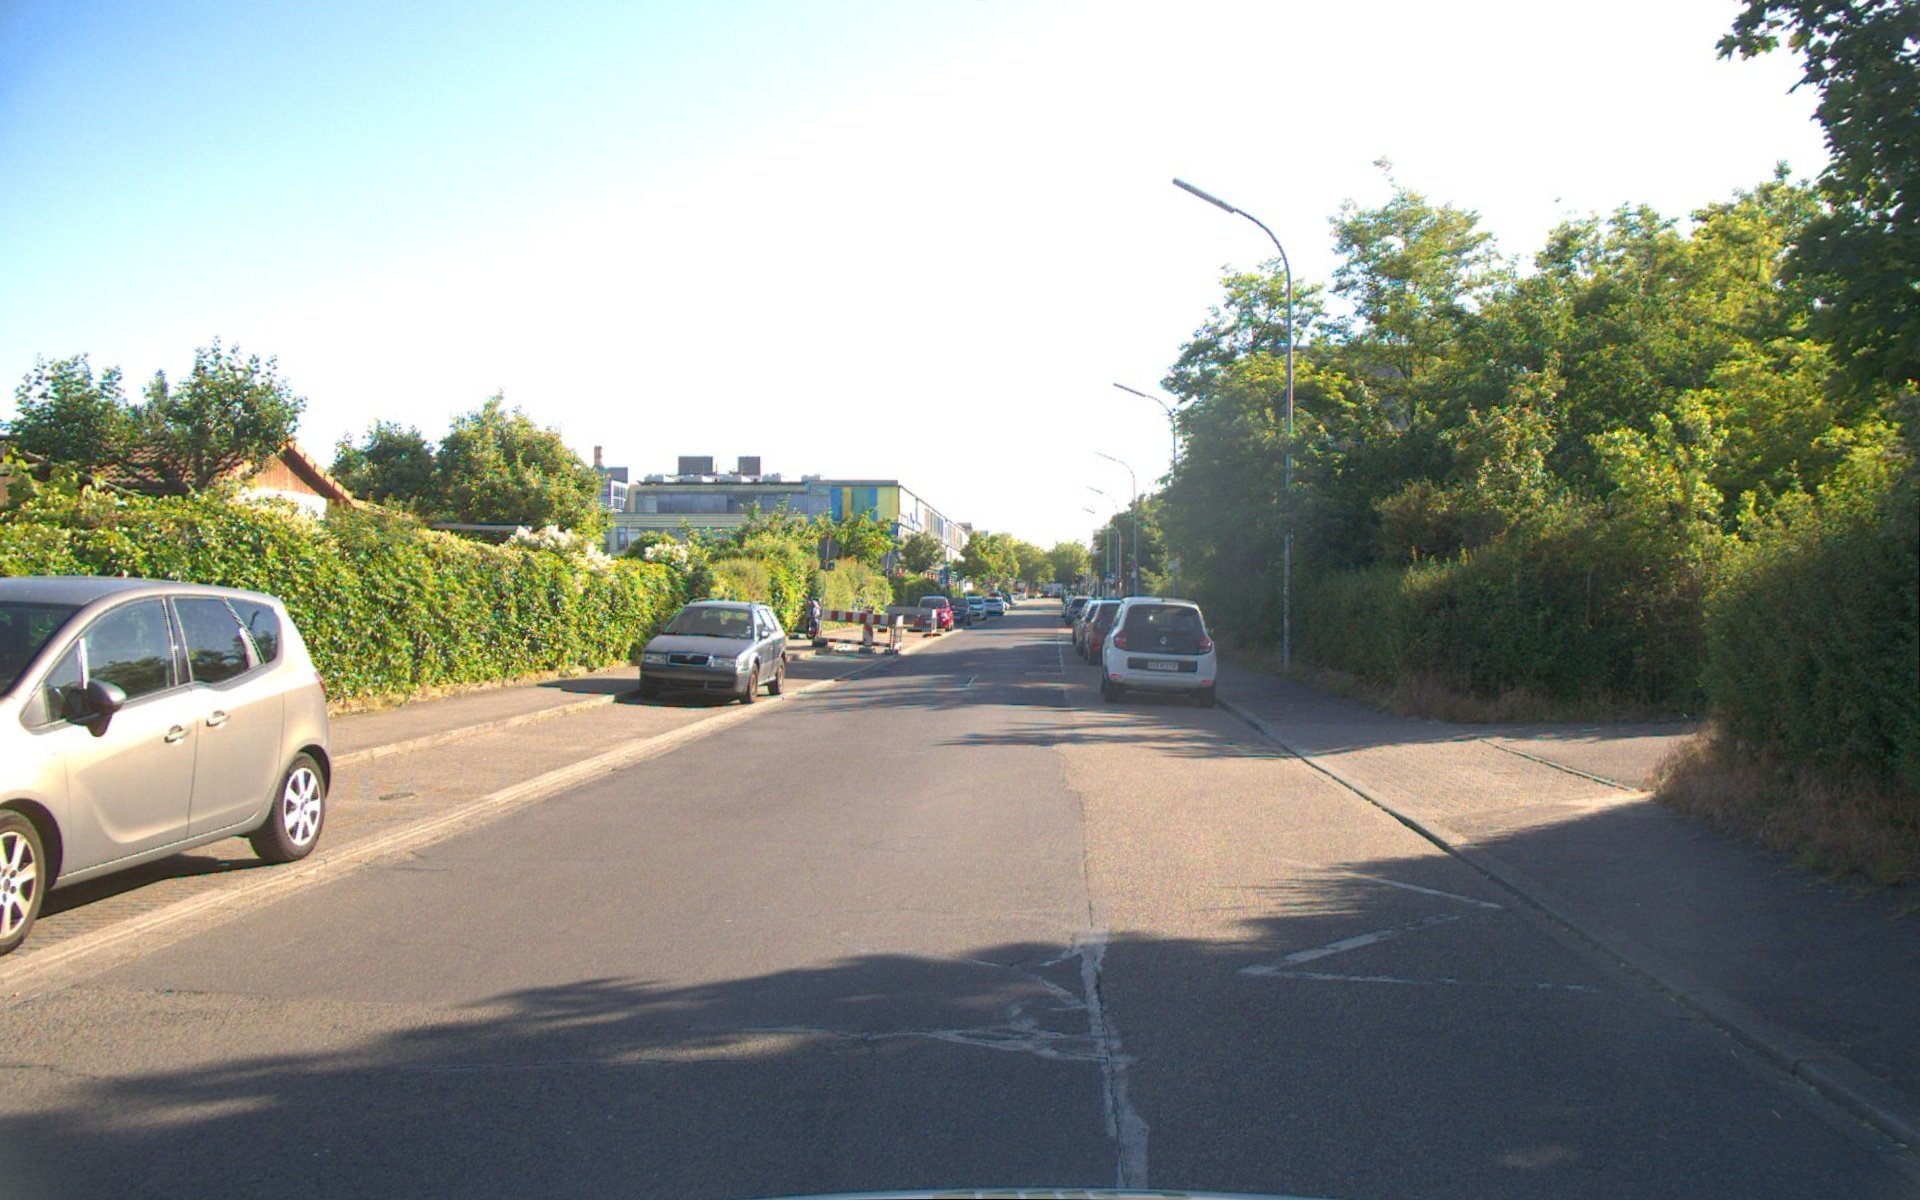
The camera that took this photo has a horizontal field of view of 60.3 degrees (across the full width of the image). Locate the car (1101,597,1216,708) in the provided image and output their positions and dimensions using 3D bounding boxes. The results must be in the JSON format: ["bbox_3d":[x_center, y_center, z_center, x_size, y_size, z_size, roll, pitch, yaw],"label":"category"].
[{"bbox_3d":[3.023,0.758,25.681,1.523,1.565,3.557,1,0,3],"label":"car"}]

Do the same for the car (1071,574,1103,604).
[{"bbox_3d":[7.243,-0.619,94.343,1.641,1.636,4.180,1,0,2],"label":"car"}]

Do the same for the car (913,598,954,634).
[{"bbox_3d":[-1.143,0.697,72.469,1.527,1.521,3.572,-1,0,3],"label":"car"}]

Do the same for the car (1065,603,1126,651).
[{"bbox_3d":[4.378,0.848,53.911,1.717,1.438,4.657,1,0,2],"label":"car"}]

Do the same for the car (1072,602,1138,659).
[{"bbox_3d":[4.039,0.827,46.654,1.620,1.470,4.658,1,0,2],"label":"car"}]

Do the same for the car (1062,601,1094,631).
[{"bbox_3d":[6.322,0.841,88.559,1.588,1.553,3.903,1,0,4],"label":"car"}]

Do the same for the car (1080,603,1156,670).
[{"bbox_3d":[3.829,0.846,40.487,1.620,1.512,3.840,1,0,2],"label":"car"}]

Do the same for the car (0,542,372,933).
[{"bbox_3d":[-4.677,0.563,8.256,1.609,1.628,4.314,1,0,5],"label":"car"}]

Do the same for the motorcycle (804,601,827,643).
[{"bbox_3d":[-4.529,0.692,51.790,0.555,1.290,2.090,0,-1,-1],"label":"motorcycle"}]

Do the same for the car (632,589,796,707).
[{"bbox_3d":[-3.742,0.686,25.895,1.609,1.583,4.419,4,0,3],"label":"car"}]

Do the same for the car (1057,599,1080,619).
[{"bbox_3d":[8.377,0.687,127.904,1.705,1.453,4.135,1,0,3],"label":"car"}]

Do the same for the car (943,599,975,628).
[{"bbox_3d":[-0.059,0.749,90.822,1.527,1.521,3.572,2,0,3],"label":"car"}]

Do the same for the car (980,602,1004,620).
[{"bbox_3d":[2.661,0.902,137.102,1.815,1.453,4.135,1,0,3],"label":"car"}]

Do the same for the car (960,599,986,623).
[{"bbox_3d":[0.849,0.693,107.850,1.527,1.521,3.760,-1,0,3],"label":"car"}]
